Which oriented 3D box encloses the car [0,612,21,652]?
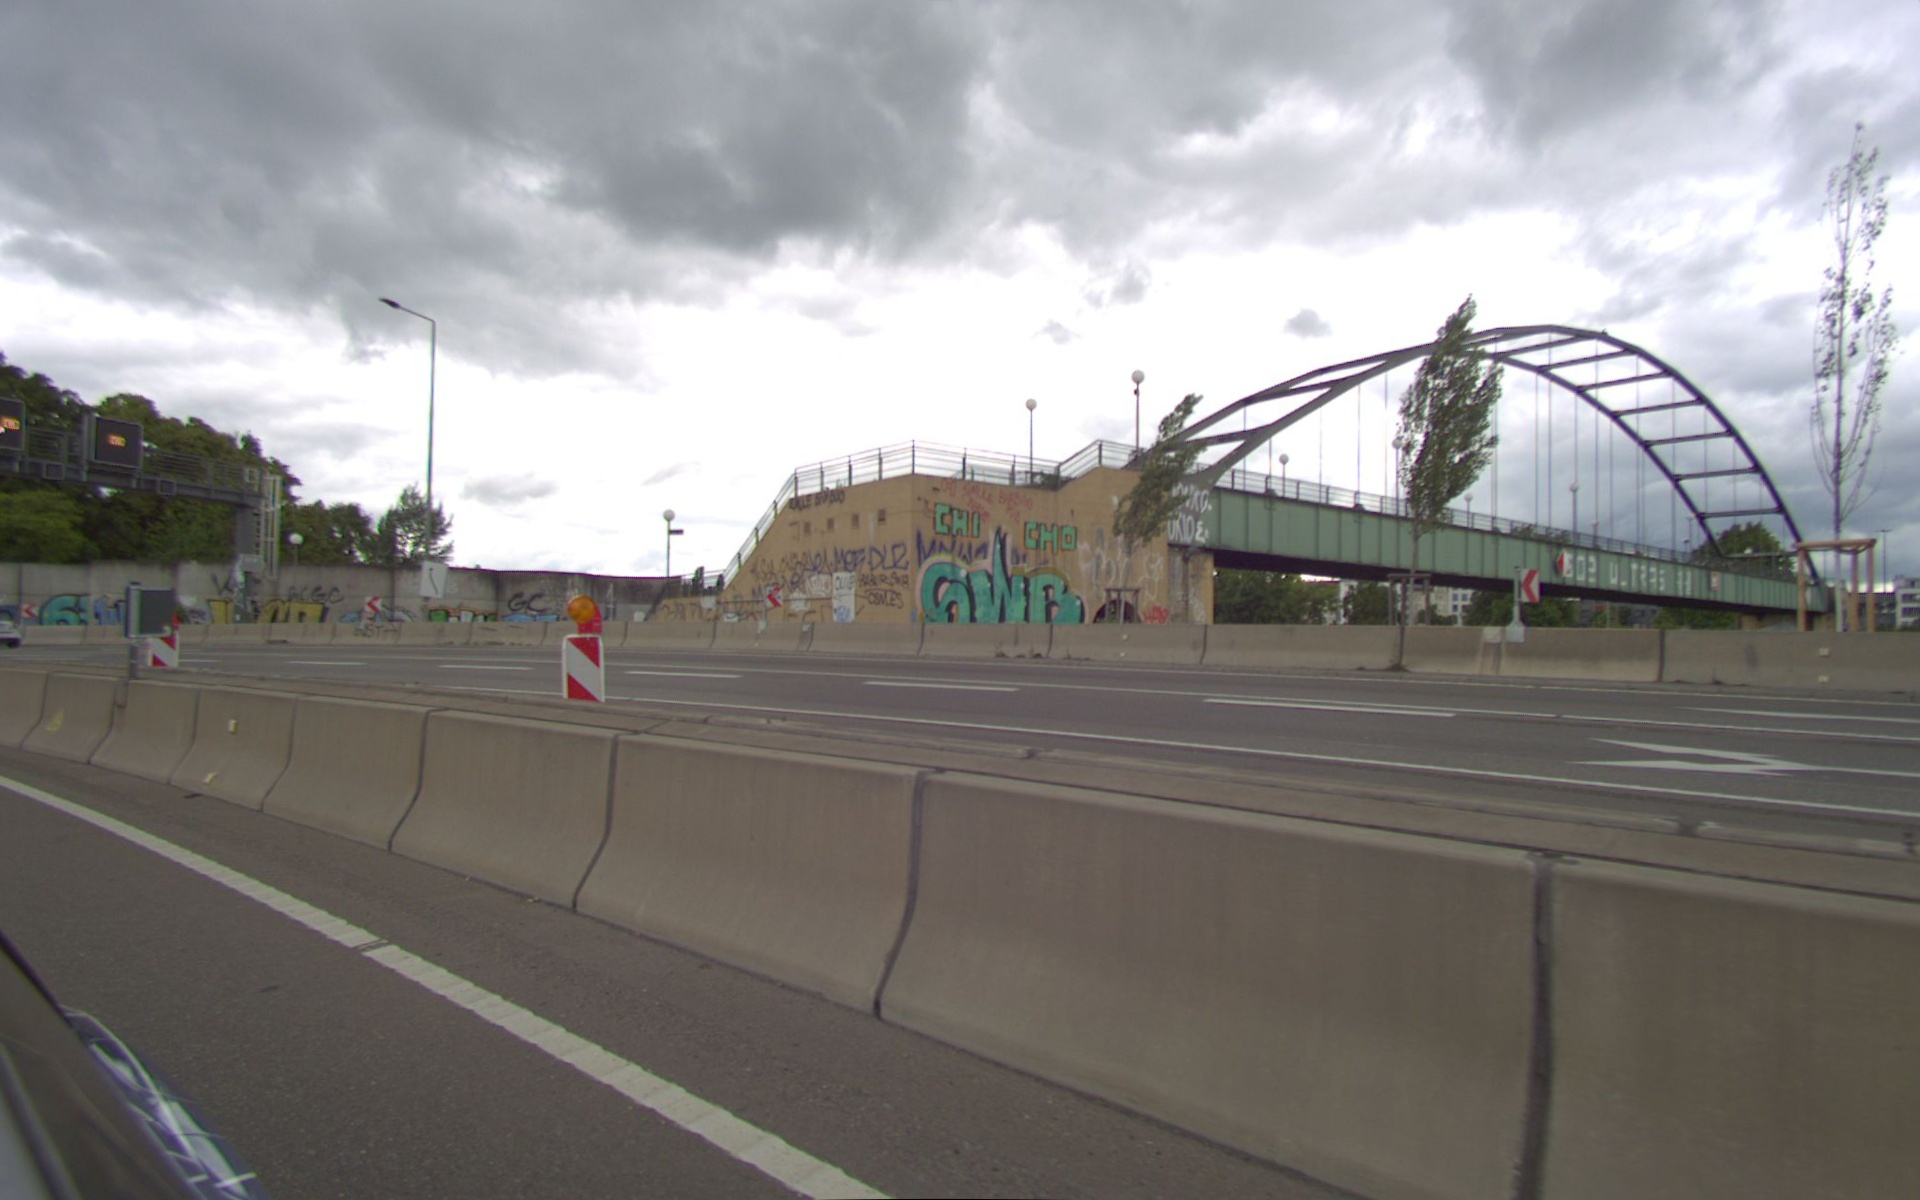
[{"bbox_3d":[-37.625,1.208,38.235,2.904,1.487,1.628,0,-1,6],"label":"car"}]
